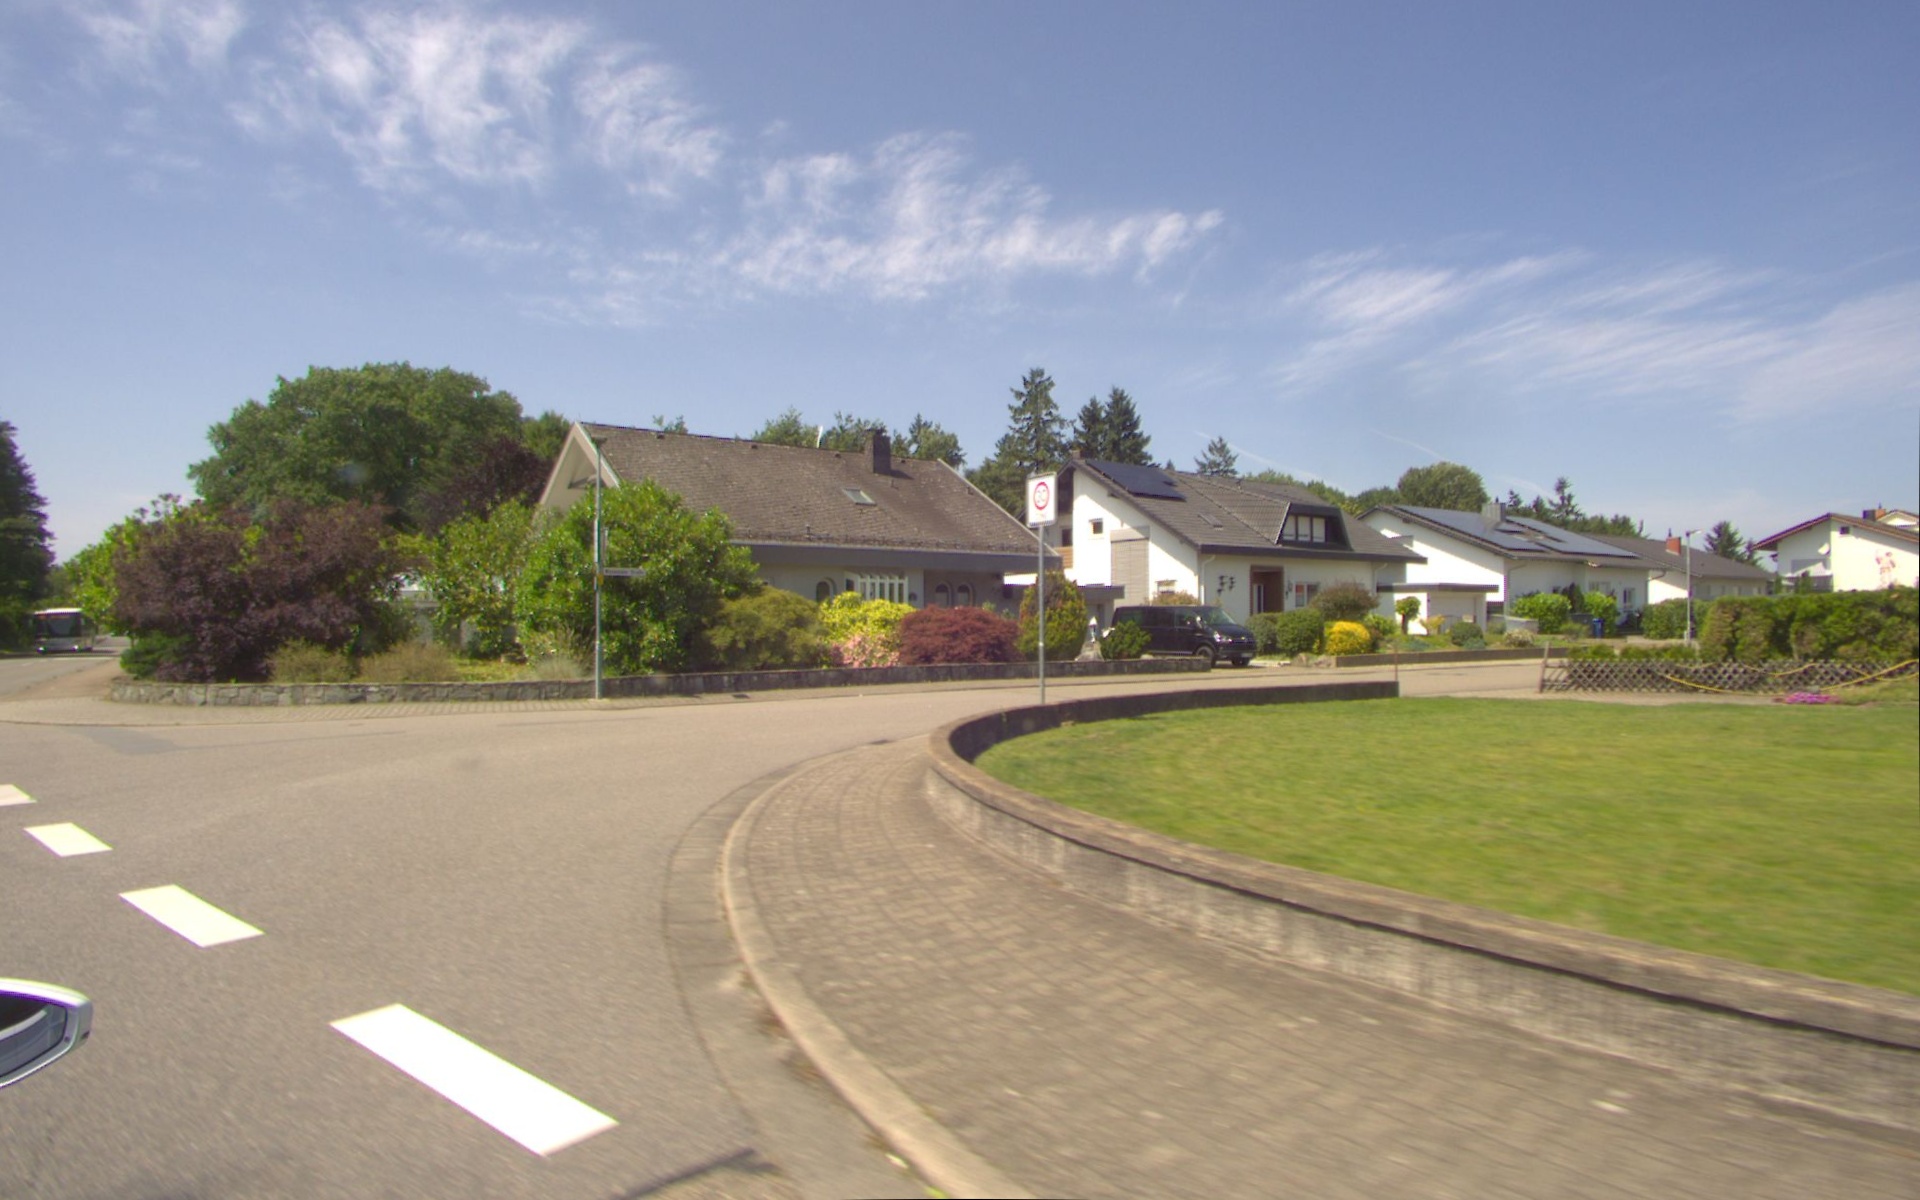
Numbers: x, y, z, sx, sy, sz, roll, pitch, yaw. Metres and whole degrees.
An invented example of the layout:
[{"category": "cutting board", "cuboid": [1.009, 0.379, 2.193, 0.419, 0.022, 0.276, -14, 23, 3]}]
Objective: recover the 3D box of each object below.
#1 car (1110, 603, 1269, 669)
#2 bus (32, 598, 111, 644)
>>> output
[{"category": "car", "cuboid": [7.238, 1.107, 32.029, 1.905, 1.940, 4.931, 0, -1, -36]}, {"category": "bus", "cuboid": [-68.442, 1.622, 77.389, 3.151, 3.286, 12.625, 0, -1, -35]}]
